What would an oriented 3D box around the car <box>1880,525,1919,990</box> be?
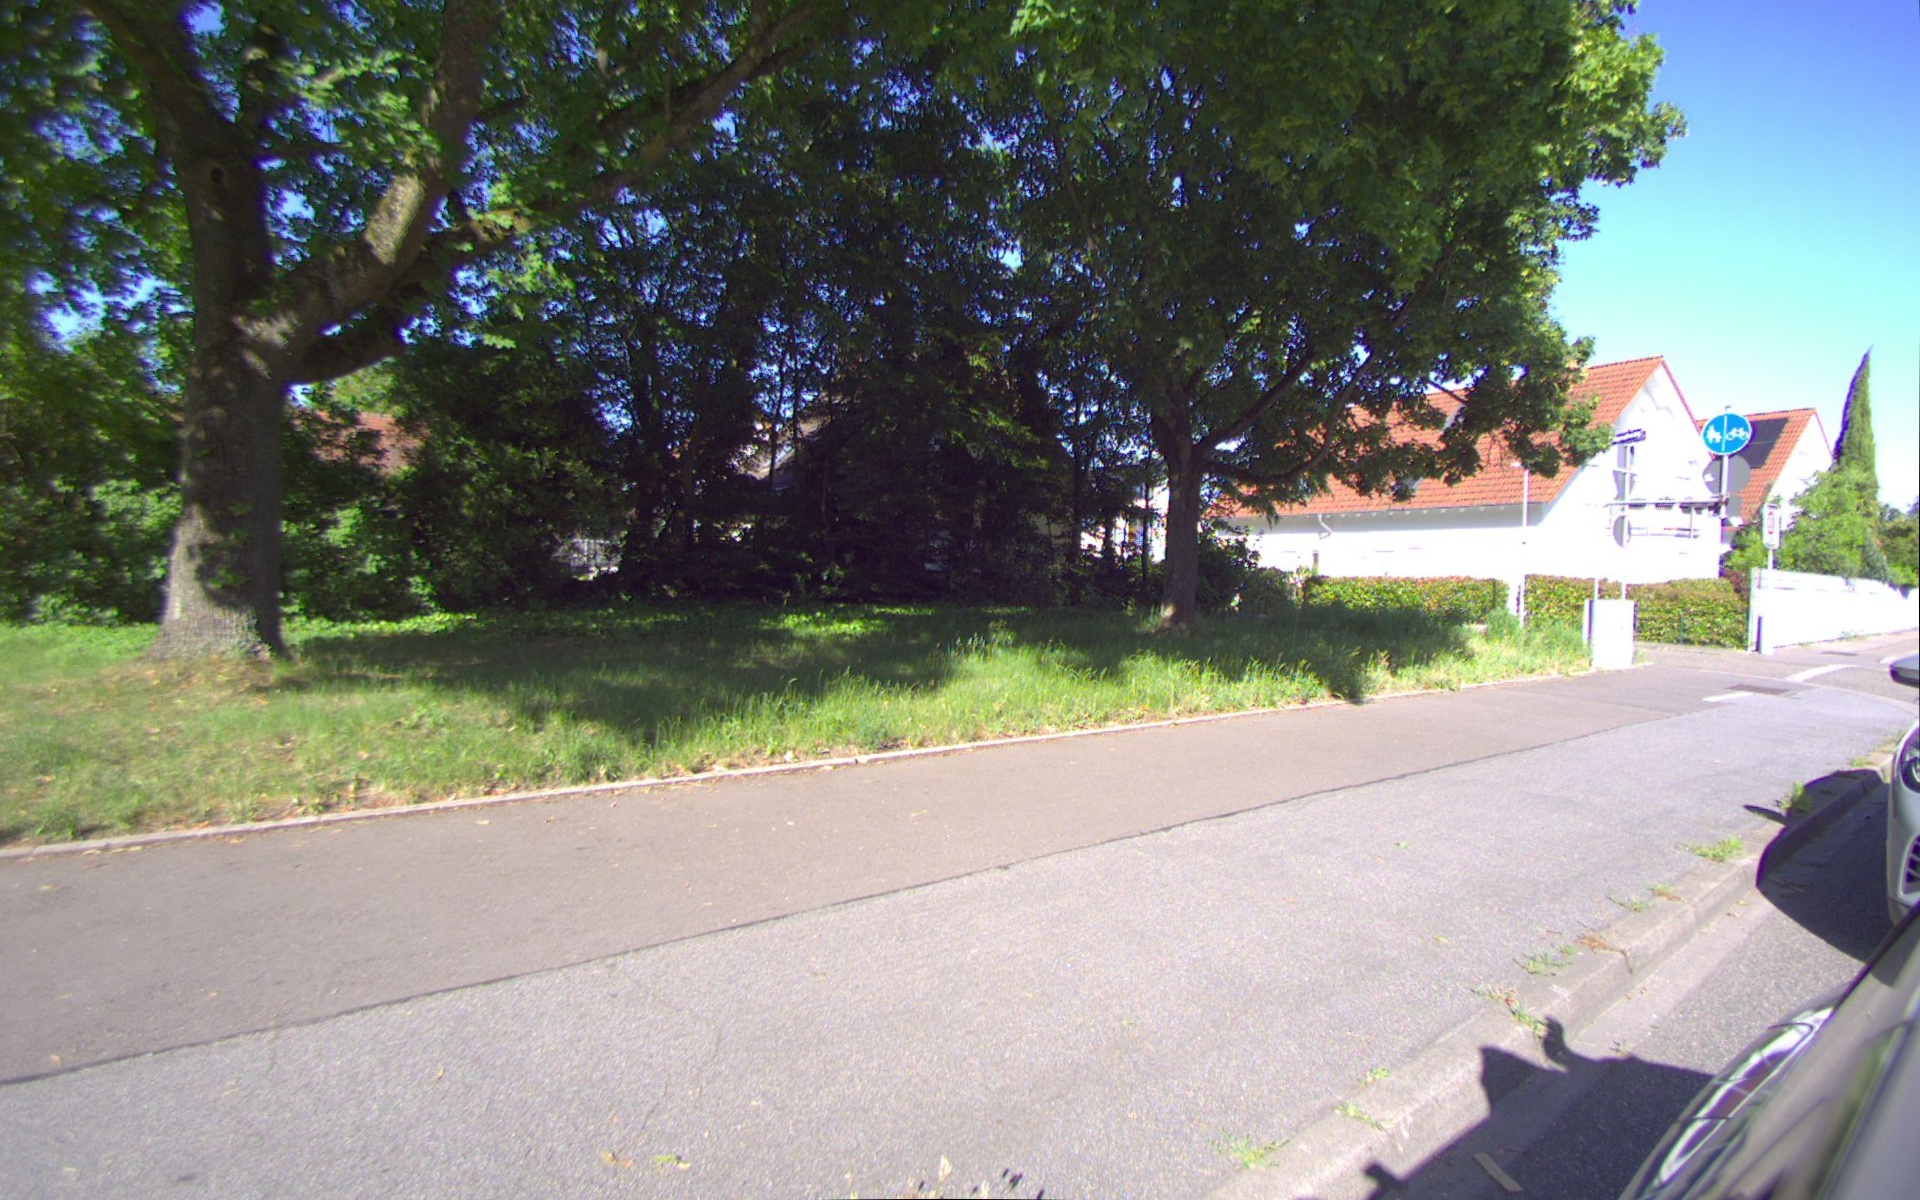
[{"bbox_3d":[5.641,0.601,4.436,4.133,1.710,1.857,0,3,-41],"label":"car"}]
